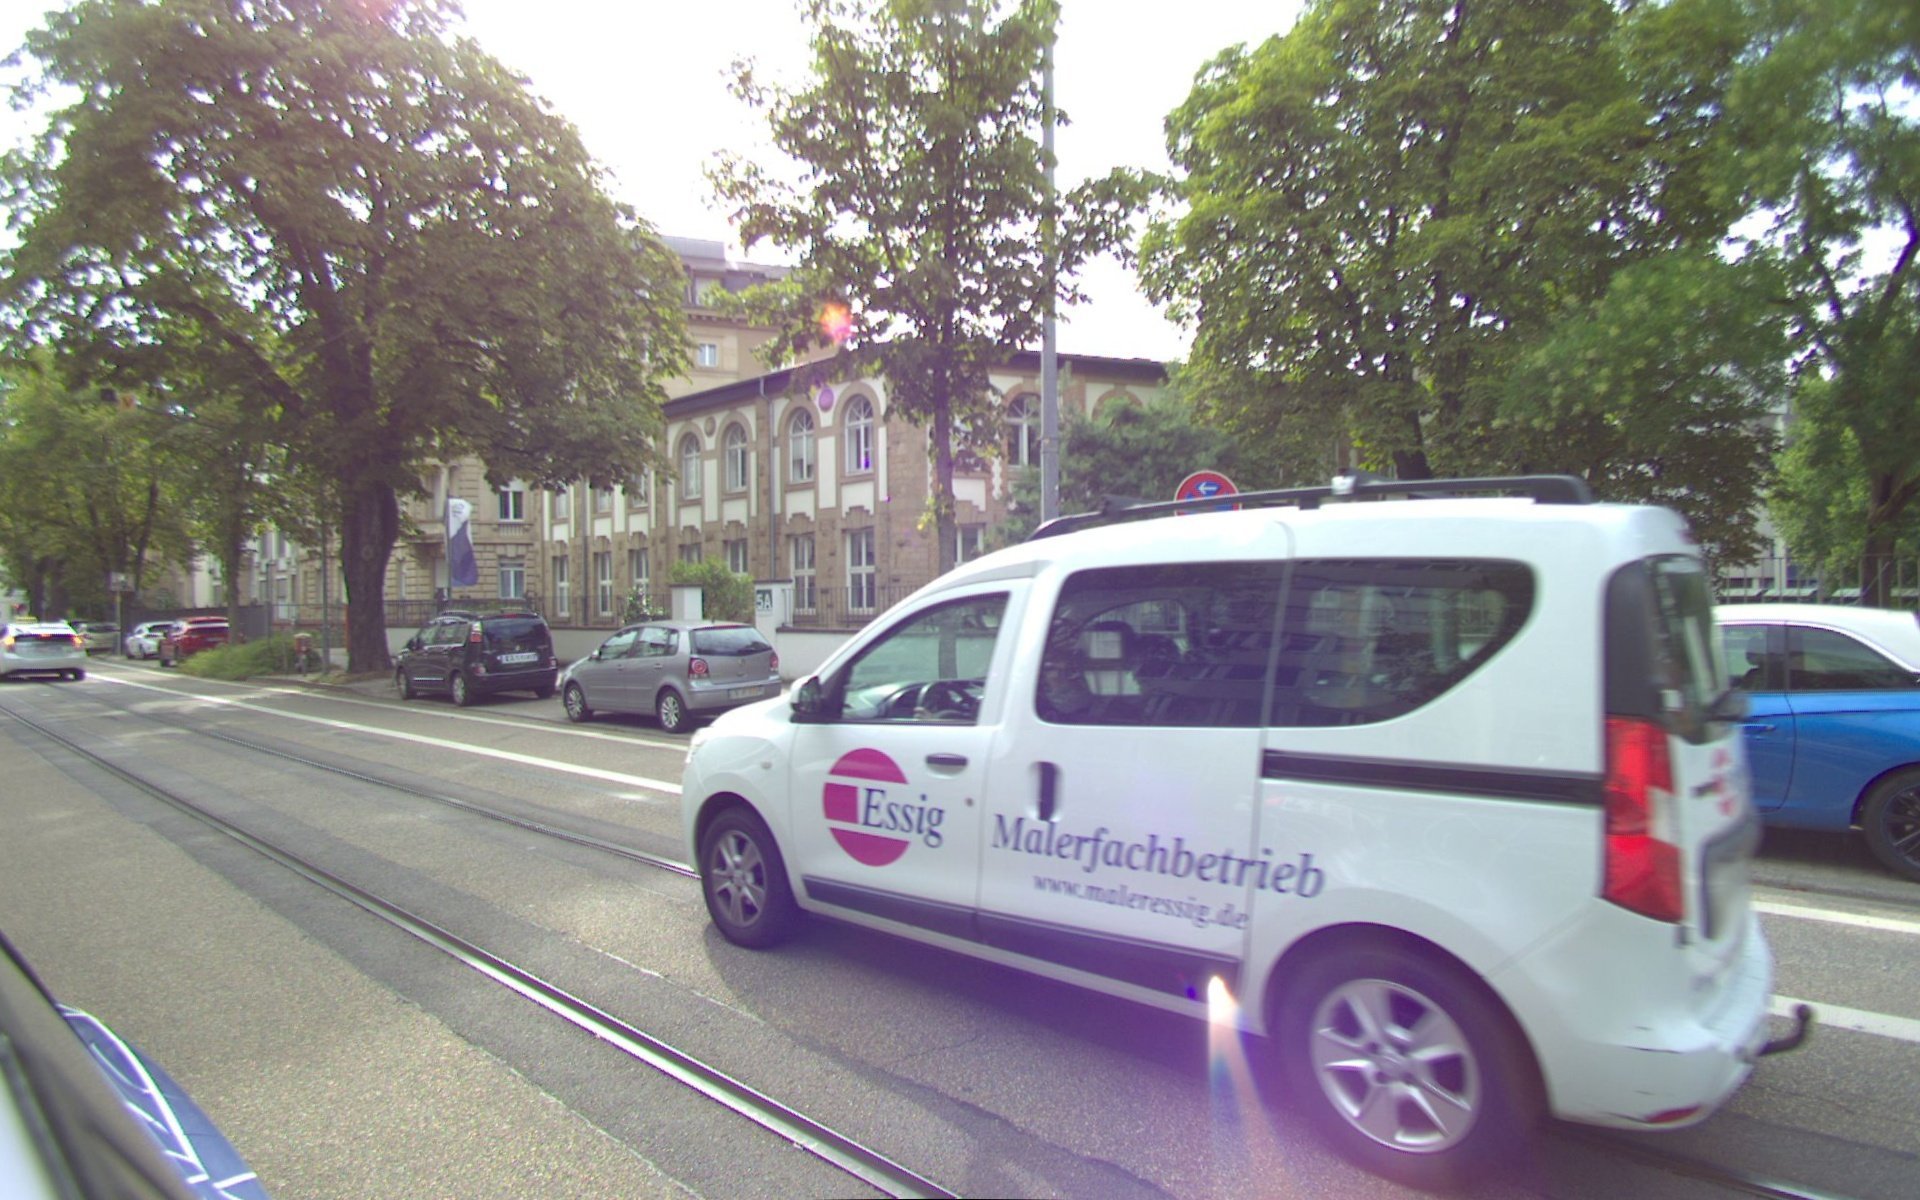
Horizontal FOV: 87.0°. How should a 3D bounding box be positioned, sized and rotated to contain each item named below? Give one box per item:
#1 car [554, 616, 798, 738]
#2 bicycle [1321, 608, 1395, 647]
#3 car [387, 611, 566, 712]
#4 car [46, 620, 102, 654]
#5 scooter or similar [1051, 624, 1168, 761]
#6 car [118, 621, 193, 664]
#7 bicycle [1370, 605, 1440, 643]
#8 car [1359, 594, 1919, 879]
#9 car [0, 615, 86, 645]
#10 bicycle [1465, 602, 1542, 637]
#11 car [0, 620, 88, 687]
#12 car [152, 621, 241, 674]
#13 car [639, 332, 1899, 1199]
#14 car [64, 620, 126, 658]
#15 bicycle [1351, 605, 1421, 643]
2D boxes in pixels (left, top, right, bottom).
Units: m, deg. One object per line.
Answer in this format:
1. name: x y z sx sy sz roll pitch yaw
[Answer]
1. car: -4.075 0.990 14.269 3.572 1.476 1.611 -2 -1 41
2. bicycle: 11.255 0.754 28.661 0.584 1.051 1.984 -1 0 -30
3. car: -8.977 1.071 18.670 3.723 1.646 1.637 -2 -1 41
4. car: -45.462 1.866 51.898 3.904 1.646 1.637 -2 -1 41
5. scooter or similar: 1.415 0.852 9.563 0.988 1.176 0.370 -3 0 -24
6. car: -31.984 1.658 40.205 3.904 1.613 1.637 -2 -1 41
7. bicycle: 12.828 0.677 29.231 0.584 1.051 1.984 -1 0 -23
8. car: 4.718 0.731 6.596 3.600 1.476 1.611 -2 -1 41
9. car: -86.333 2.819 95.363 1.981 2.620 5.905 -1 0 15
10. bicycle: 16.642 0.593 31.025 1.978 1.051 0.586 -1 0 44
11. car: -24.465 1.347 26.644 4.332 1.624 1.714 -1 -1 41
12. car: -25.725 1.566 34.044 3.904 1.646 1.637 -2 -1 41
13. car: 0.669 0.486 3.991 4.377 1.898 1.714 -2 -1 42
14. car: -40.115 1.800 46.903 3.904 1.646 1.637 -2 -1 41
15. bicycle: 12.132 0.670 28.898 0.584 1.051 1.984 -1 0 -23
